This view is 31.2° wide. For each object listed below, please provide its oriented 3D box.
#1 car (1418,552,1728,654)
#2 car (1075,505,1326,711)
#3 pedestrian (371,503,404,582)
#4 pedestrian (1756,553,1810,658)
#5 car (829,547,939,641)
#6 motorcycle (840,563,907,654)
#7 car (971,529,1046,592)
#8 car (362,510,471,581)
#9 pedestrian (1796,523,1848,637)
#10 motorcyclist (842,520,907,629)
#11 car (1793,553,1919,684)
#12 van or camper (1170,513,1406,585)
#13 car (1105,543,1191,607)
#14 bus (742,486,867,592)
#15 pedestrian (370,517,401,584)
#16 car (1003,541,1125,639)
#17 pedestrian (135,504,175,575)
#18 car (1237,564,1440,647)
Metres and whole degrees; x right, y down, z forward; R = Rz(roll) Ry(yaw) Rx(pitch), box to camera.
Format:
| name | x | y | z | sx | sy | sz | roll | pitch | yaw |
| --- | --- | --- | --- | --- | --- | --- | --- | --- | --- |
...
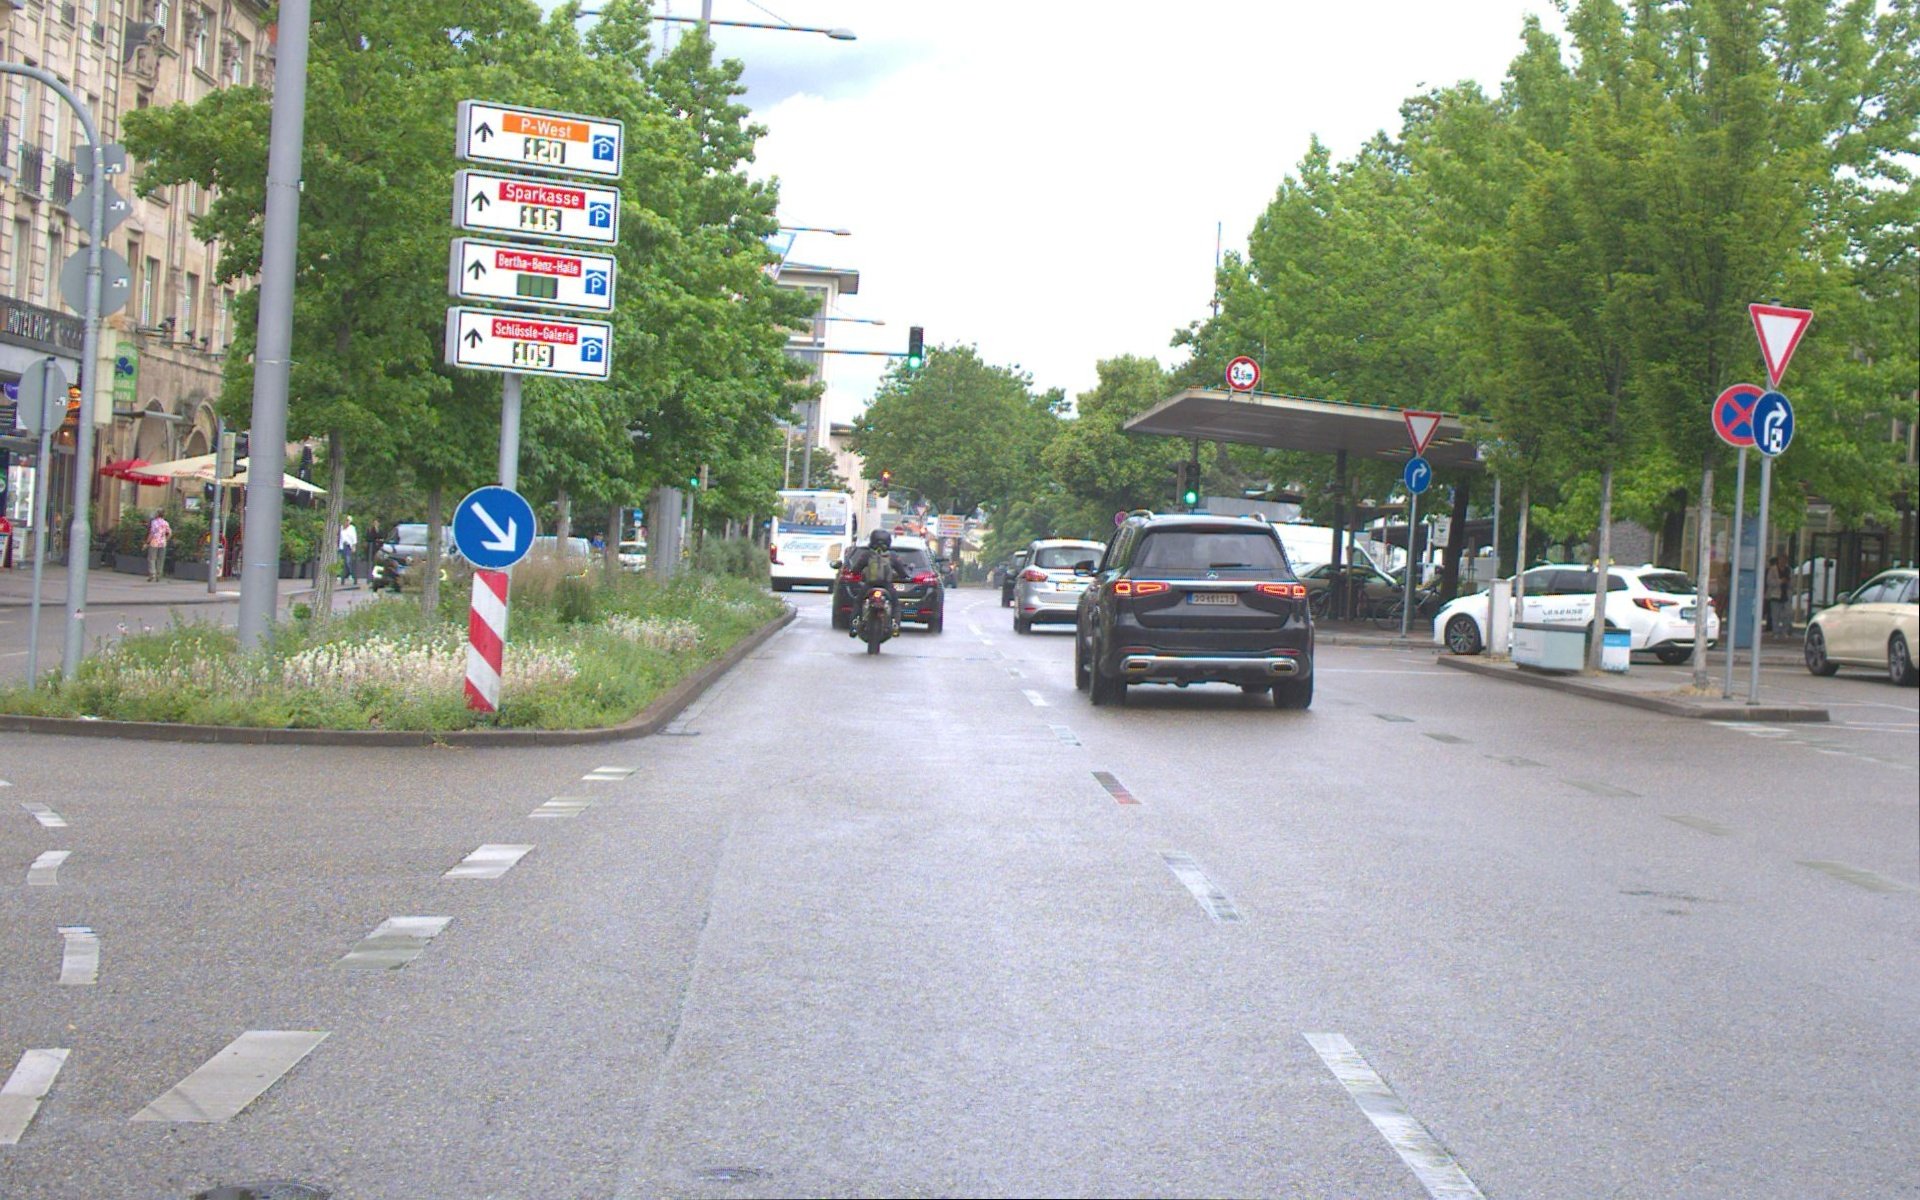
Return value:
| name | x | y | z | sx | sy | sz | roll | pitch | yaw |
| --- | --- | --- | --- | --- | --- | --- | --- | --- | --- |
| car | 9.054 | 0.028 | 51.038 | 1.774 | 1.380 | 4.366 | 0 | 1 | -41 |
| car | 2.226 | 0.022 | 33.052 | 1.993 | 1.800 | 4.690 | 1 | 1 | -1 |
| pedestrian | -14.645 | -1.466 | 88.004 | 0.757 | 2.007 | 0.833 | 1 | 1 | -7 |
| pedestrian | 15.966 | 0.097 | 66.680 | 0.769 | 2.007 | 0.828 | 1 | 1 | -2 |
| car | -1.216 | -0.127 | 55.810 | 1.708 | 1.443 | 4.000 | 1 | 1 | -1 |
| motorcycle | -1.069 | 0.094 | 43.010 | 0.766 | 1.073 | 2.175 | 2 | 1 | 0 |
| car | 1.169 | -0.981 | 84.570 | 1.708 | 1.469 | 4.000 | 1 | 1 | -1 |
| car | -12.195 | -1.223 | 77.293 | 1.771 | 1.525 | 4.079 | 1 | 1 | 0 |
| pedestrian | 18.472 | -0.434 | 73.702 | 0.843 | 2.403 | 0.862 | 1 | 1 | 1 |
| motorcyclist | -1.062 | -0.327 | 43.082 | 0.764 | 1.327 | 0.866 | 2 | 1 | 0 |
| car | 12.607 | 0.222 | 44.313 | 1.993 | 1.594 | 4.824 | 1 | 1 | -7 |
| van or camper | 9.848 | -1.518 | 102.972 | 6.753 | 2.007 | 2.385 | 1 | 0 | -26 |
| car | 4.647 | -0.643 | 85.411 | 1.816 | 1.525 | 4.000 | 1 | 1 | -1 |
| bus | -5.063 | -2.012 | 113.545 | 3.760 | 3.198 | 15.527 | 1 | 1 | -2 |
| pedestrian | -14.758 | -1.281 | 88.331 | 0.674 | 1.696 | 0.634 | 1 | 1 | -1 |
| car | 1.722 | -0.198 | 58.058 | 1.851 | 1.562 | 4.000 | 1 | 1 | -1 |
| pedestrian | -17.182 | -1.290 | 73.377 | 0.661 | 1.505 | 0.519 | 1 | 1 | -38 |
| car | 9.051 | 0.134 | 82.293 | 4.335 | 1.851 | 2.001 | 1 | 1 | -20 |
